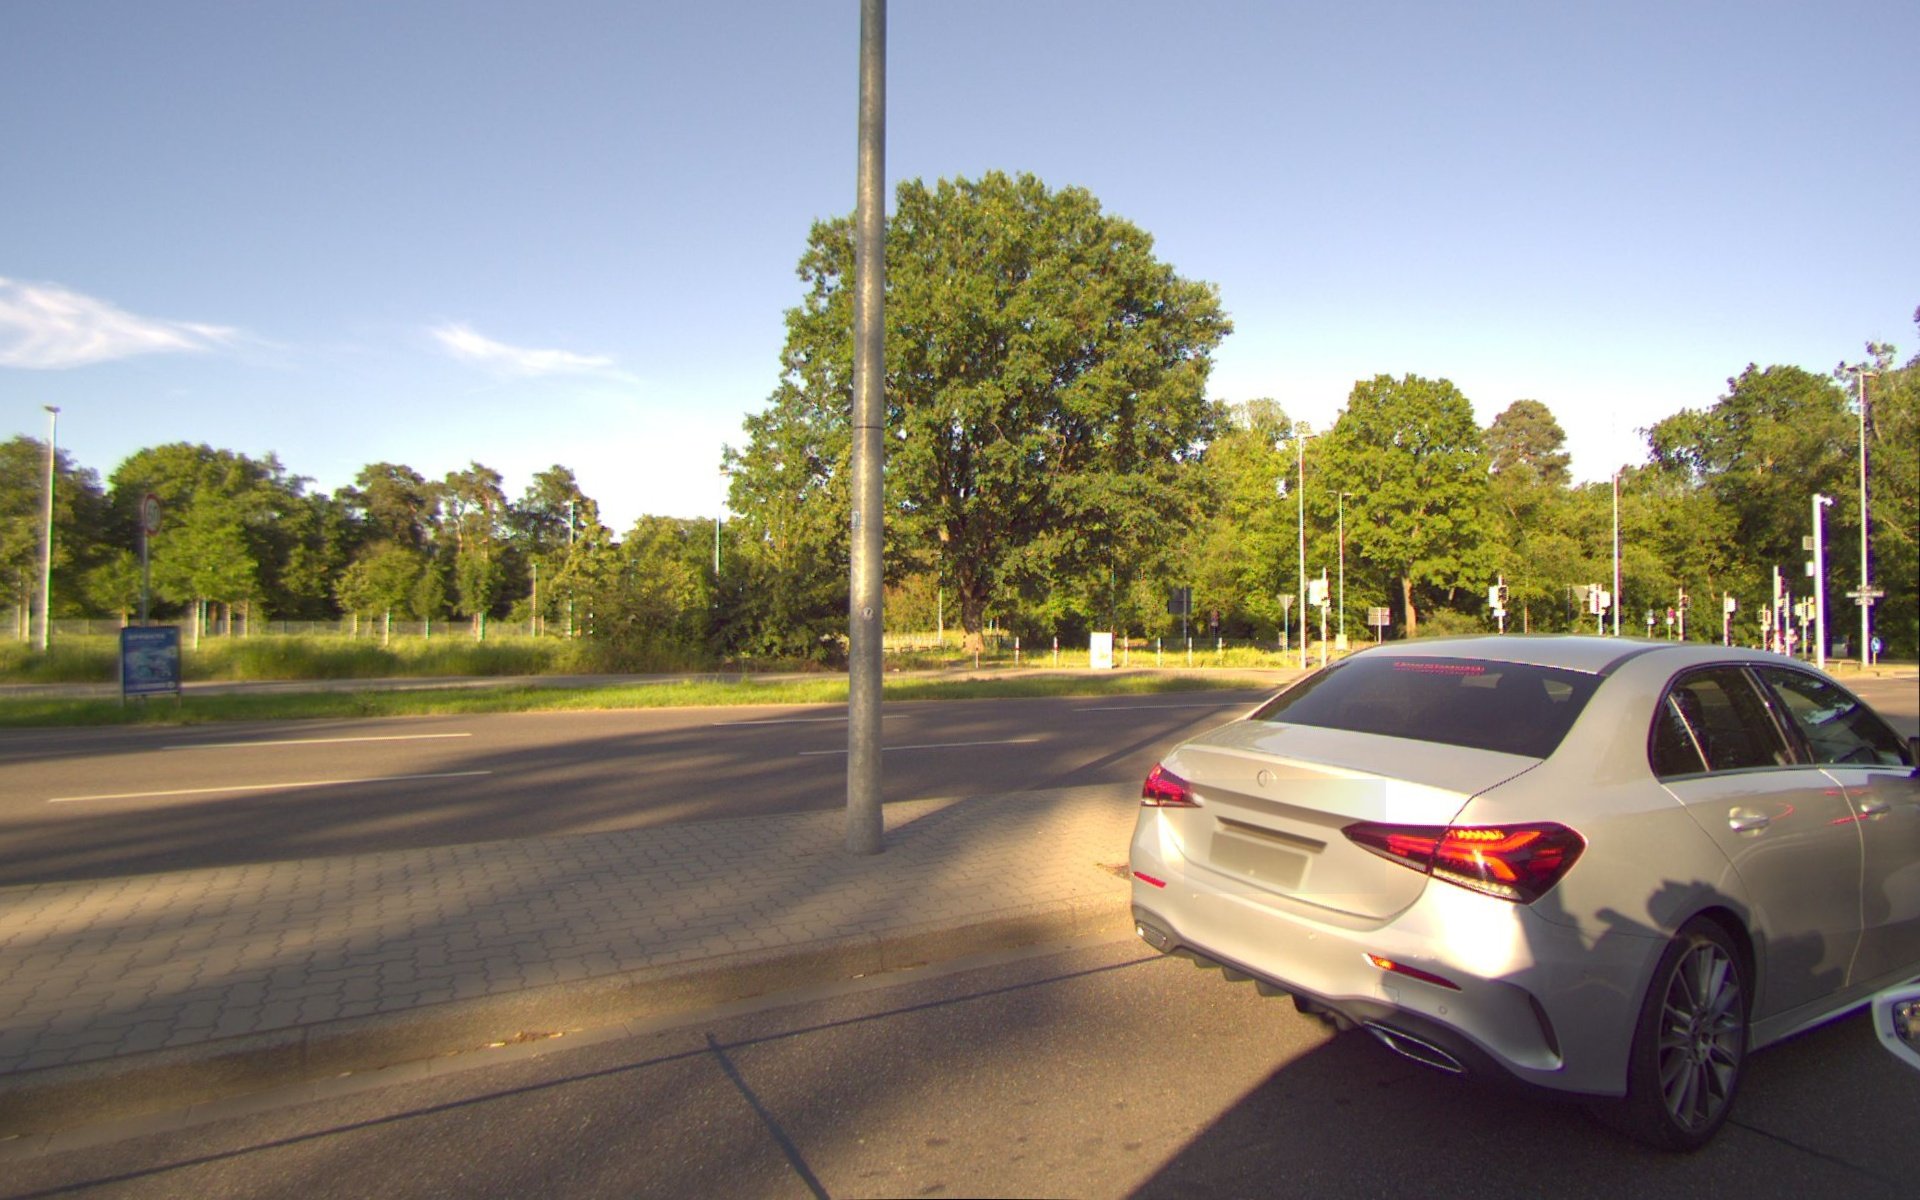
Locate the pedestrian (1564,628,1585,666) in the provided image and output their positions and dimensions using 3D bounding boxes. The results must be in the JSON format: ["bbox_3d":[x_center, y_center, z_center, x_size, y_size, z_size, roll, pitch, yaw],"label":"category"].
[{"bbox_3d":[26.177,1.991,42.802,0.641,1.583,0.479,2,0,-30],"label":"pedestrian"}]

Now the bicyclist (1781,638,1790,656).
[{"bbox_3d":[44.271,2.518,53.862,0.238,0.975,0.271,2,0,-35],"label":"bicyclist"}]

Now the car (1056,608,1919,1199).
[{"bbox_3d":[2.618,0.793,4.122,4.229,1.463,1.776,1,0,-32],"label":"car"}]

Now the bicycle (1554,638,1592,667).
[{"bbox_3d":[26.026,2.227,42.658,1.980,1.193,0.466,2,0,-31],"label":"bicycle"}]

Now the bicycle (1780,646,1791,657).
[{"bbox_3d":[44.264,2.752,53.865,0.831,0.589,0.264,2,0,-36],"label":"bicycle"}]
